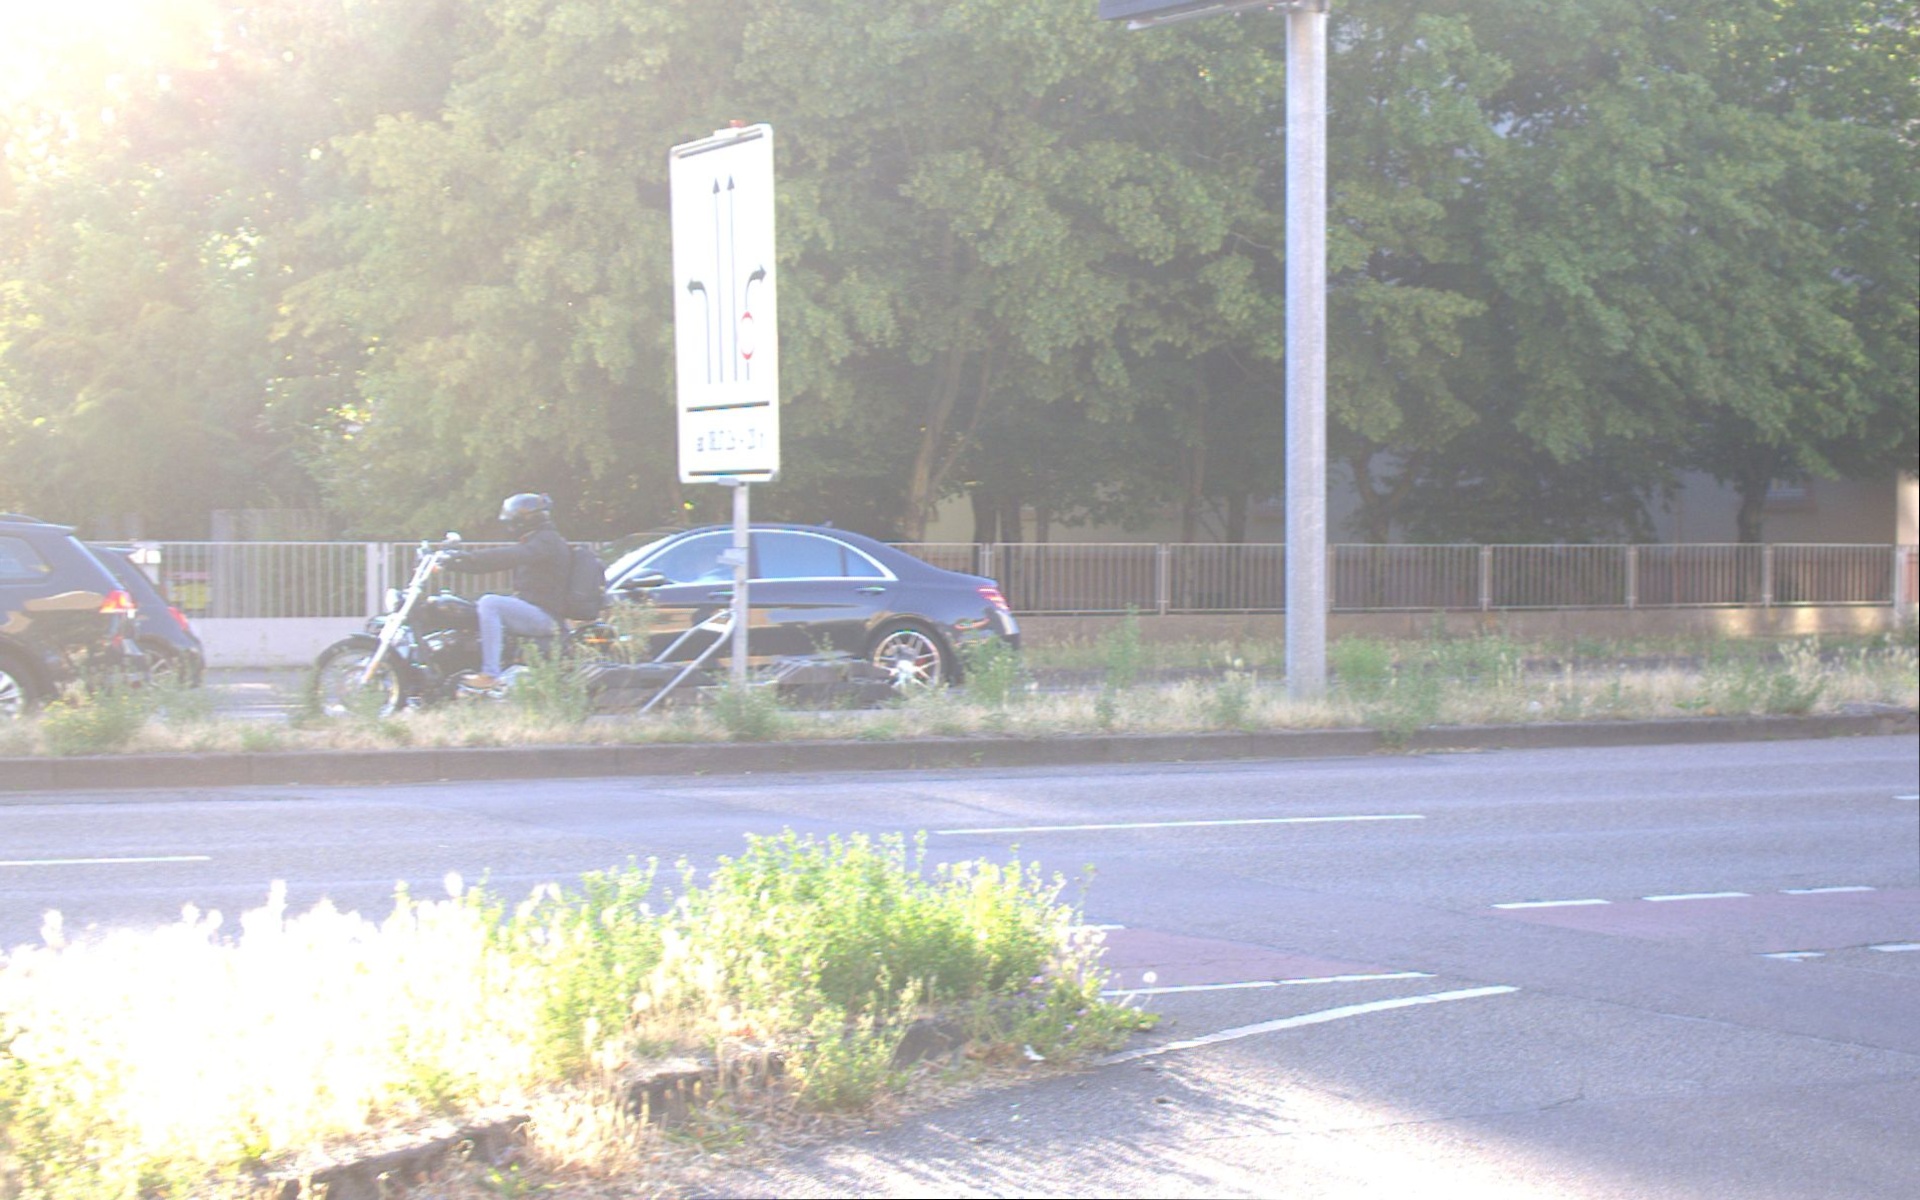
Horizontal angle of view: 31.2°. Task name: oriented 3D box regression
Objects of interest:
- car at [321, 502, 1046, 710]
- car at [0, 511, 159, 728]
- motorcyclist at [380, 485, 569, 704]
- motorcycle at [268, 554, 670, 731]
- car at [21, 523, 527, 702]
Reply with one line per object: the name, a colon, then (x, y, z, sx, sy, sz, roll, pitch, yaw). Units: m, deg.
car: (-2.124, 0.007, 26.813, 5.274, 1.490, 2.000, -1, 1, -27)
car: (-7.192, 0.106, 20.817, 4.361, 1.292, 1.725, 0, 1, -21)
motorcyclist: (-3.176, -0.047, 22.450, 1.058, 1.393, 0.854, 0, 1, -21)
motorcycle: (-3.201, 0.255, 22.424, 2.461, 1.104, 0.862, 0, 1, -21)
car: (-6.007, 0.069, 30.148, 3.986, 1.459, 1.860, 0, 2, -28)
